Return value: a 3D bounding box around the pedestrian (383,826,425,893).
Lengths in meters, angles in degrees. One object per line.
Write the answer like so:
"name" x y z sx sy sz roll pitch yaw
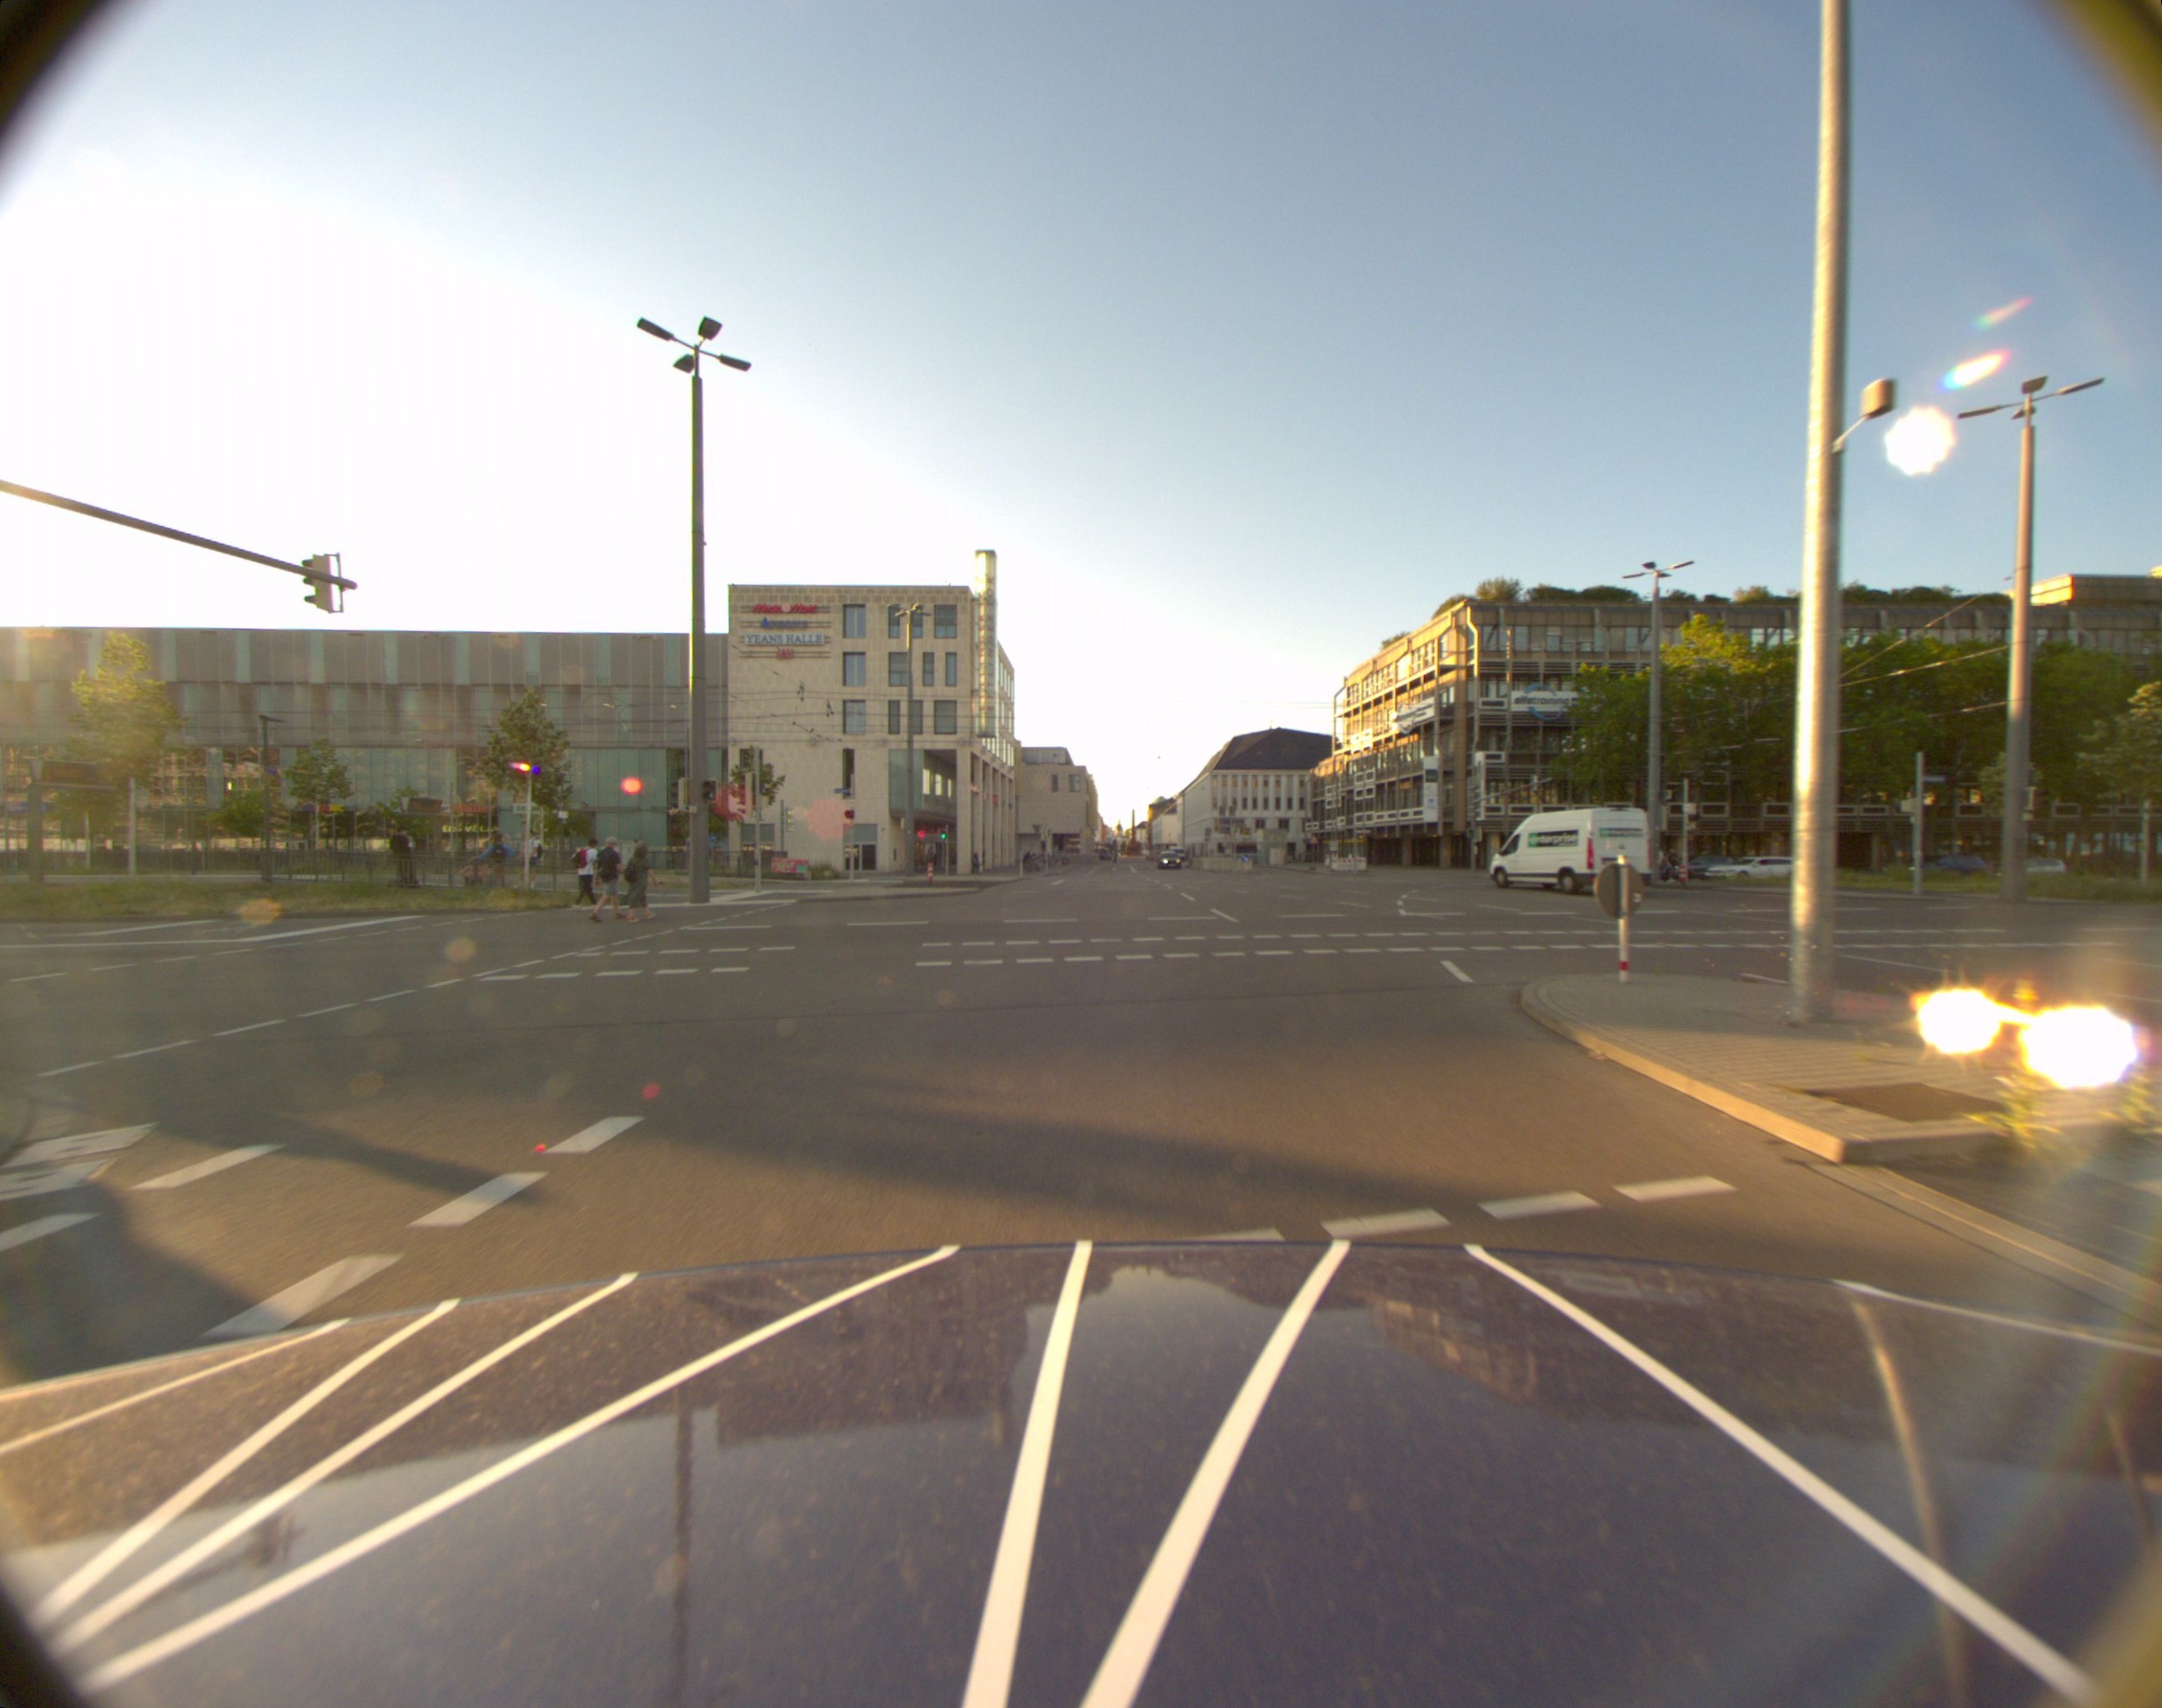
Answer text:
"pedestrian" -18.815 0.149 21.131 0.604 1.843 0.586 0 2 5

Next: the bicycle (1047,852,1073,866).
"bicycle" -2.054 0.477 74.629 2.507 1.317 0.619 0 2 2

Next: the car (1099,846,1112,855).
"car" 4.292 -0.641 133.402 2.071 1.641 4.000 0 1 4

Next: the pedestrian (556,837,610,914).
"pedestrian" -11.961 0.501 18.279 0.644 1.803 0.871 0 3 4

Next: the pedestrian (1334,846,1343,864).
"pedestrian" 25.135 0.080 74.180 0.651 1.703 0.650 0 1 4

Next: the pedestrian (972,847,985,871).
"pedestrian" -7.272 0.359 53.952 0.764 1.696 0.834 0 1 1

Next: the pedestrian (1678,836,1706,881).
"pedestrian" 26.485 0.176 32.945 0.644 1.920 0.681 0 2 0

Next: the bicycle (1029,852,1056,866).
"bicycle" -3.686 0.441 72.496 2.507 1.317 0.619 0 2 2

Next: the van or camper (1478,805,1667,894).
"van or camper" 16.428 -0.158 25.982 2.233 2.651 6.160 0 1 -3

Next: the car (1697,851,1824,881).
"car" 37.720 0.645 42.265 5.159 1.576 2.000 0 1 2

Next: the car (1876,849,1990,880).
"car" 47.279 0.556 42.240 3.997 1.641 2.073 0 1 0

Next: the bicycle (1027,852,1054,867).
"bicycle" -3.723 0.481 69.986 2.507 1.317 0.619 0 2 2

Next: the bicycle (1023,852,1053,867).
"bicycle" -3.755 0.469 66.544 2.507 1.317 0.619 0 2 2

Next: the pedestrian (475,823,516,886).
"pedestrian" -17.688 0.022 22.964 0.896 1.844 0.724 1 4 -31

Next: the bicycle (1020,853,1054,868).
"bicycle" -3.742 0.569 64.906 2.804 1.209 0.765 0 1 12

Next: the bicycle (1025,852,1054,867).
"bicycle" -3.767 0.500 68.932 2.507 1.317 0.619 0 2 2

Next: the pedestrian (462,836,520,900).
"pedestrian" -16.577 0.377 21.366 0.868 1.715 1.009 5 4 29

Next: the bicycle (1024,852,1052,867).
"bicycle" -3.810 0.519 67.543 2.507 1.317 0.619 0 2 2

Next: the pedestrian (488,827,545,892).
"pedestrian" -16.768 0.154 22.568 0.892 1.844 1.007 4 3 14

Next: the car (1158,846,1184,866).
"car" 7.775 0.175 66.102 2.071 1.641 4.000 0 1 4

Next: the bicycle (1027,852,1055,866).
"bicycle" -3.732 0.470 70.794 2.507 1.317 0.619 0 2 2

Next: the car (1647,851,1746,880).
"car" 36.856 0.674 45.572 4.397 1.641 1.858 0 1 0

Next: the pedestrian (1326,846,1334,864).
"pedestrian" 24.338 0.079 74.230 0.645 1.703 0.682 0 1 4

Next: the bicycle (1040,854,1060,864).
"bicycle" -3.295 0.524 81.538 2.070 1.035 0.509 0 1 0

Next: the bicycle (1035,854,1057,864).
"bicycle" -3.687 0.551 79.773 2.210 1.035 0.509 0 1 0

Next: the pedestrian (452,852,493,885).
"pedestrian" -17.707 0.413 22.119 0.649 0.958 0.654 0 1 -3

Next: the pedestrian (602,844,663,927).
"pedestrian" -9.307 0.634 15.805 0.644 1.651 0.871 0 3 5

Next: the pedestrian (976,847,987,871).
"pedestrian" -7.223 0.344 55.152 0.765 1.696 0.834 0 1 -4

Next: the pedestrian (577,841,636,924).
"pedestrian" -10.034 0.577 16.086 0.644 1.721 0.871 0 1 4

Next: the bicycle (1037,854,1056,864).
"bicycle" -3.650 0.544 80.241 2.023 1.035 0.509 0 1 0
